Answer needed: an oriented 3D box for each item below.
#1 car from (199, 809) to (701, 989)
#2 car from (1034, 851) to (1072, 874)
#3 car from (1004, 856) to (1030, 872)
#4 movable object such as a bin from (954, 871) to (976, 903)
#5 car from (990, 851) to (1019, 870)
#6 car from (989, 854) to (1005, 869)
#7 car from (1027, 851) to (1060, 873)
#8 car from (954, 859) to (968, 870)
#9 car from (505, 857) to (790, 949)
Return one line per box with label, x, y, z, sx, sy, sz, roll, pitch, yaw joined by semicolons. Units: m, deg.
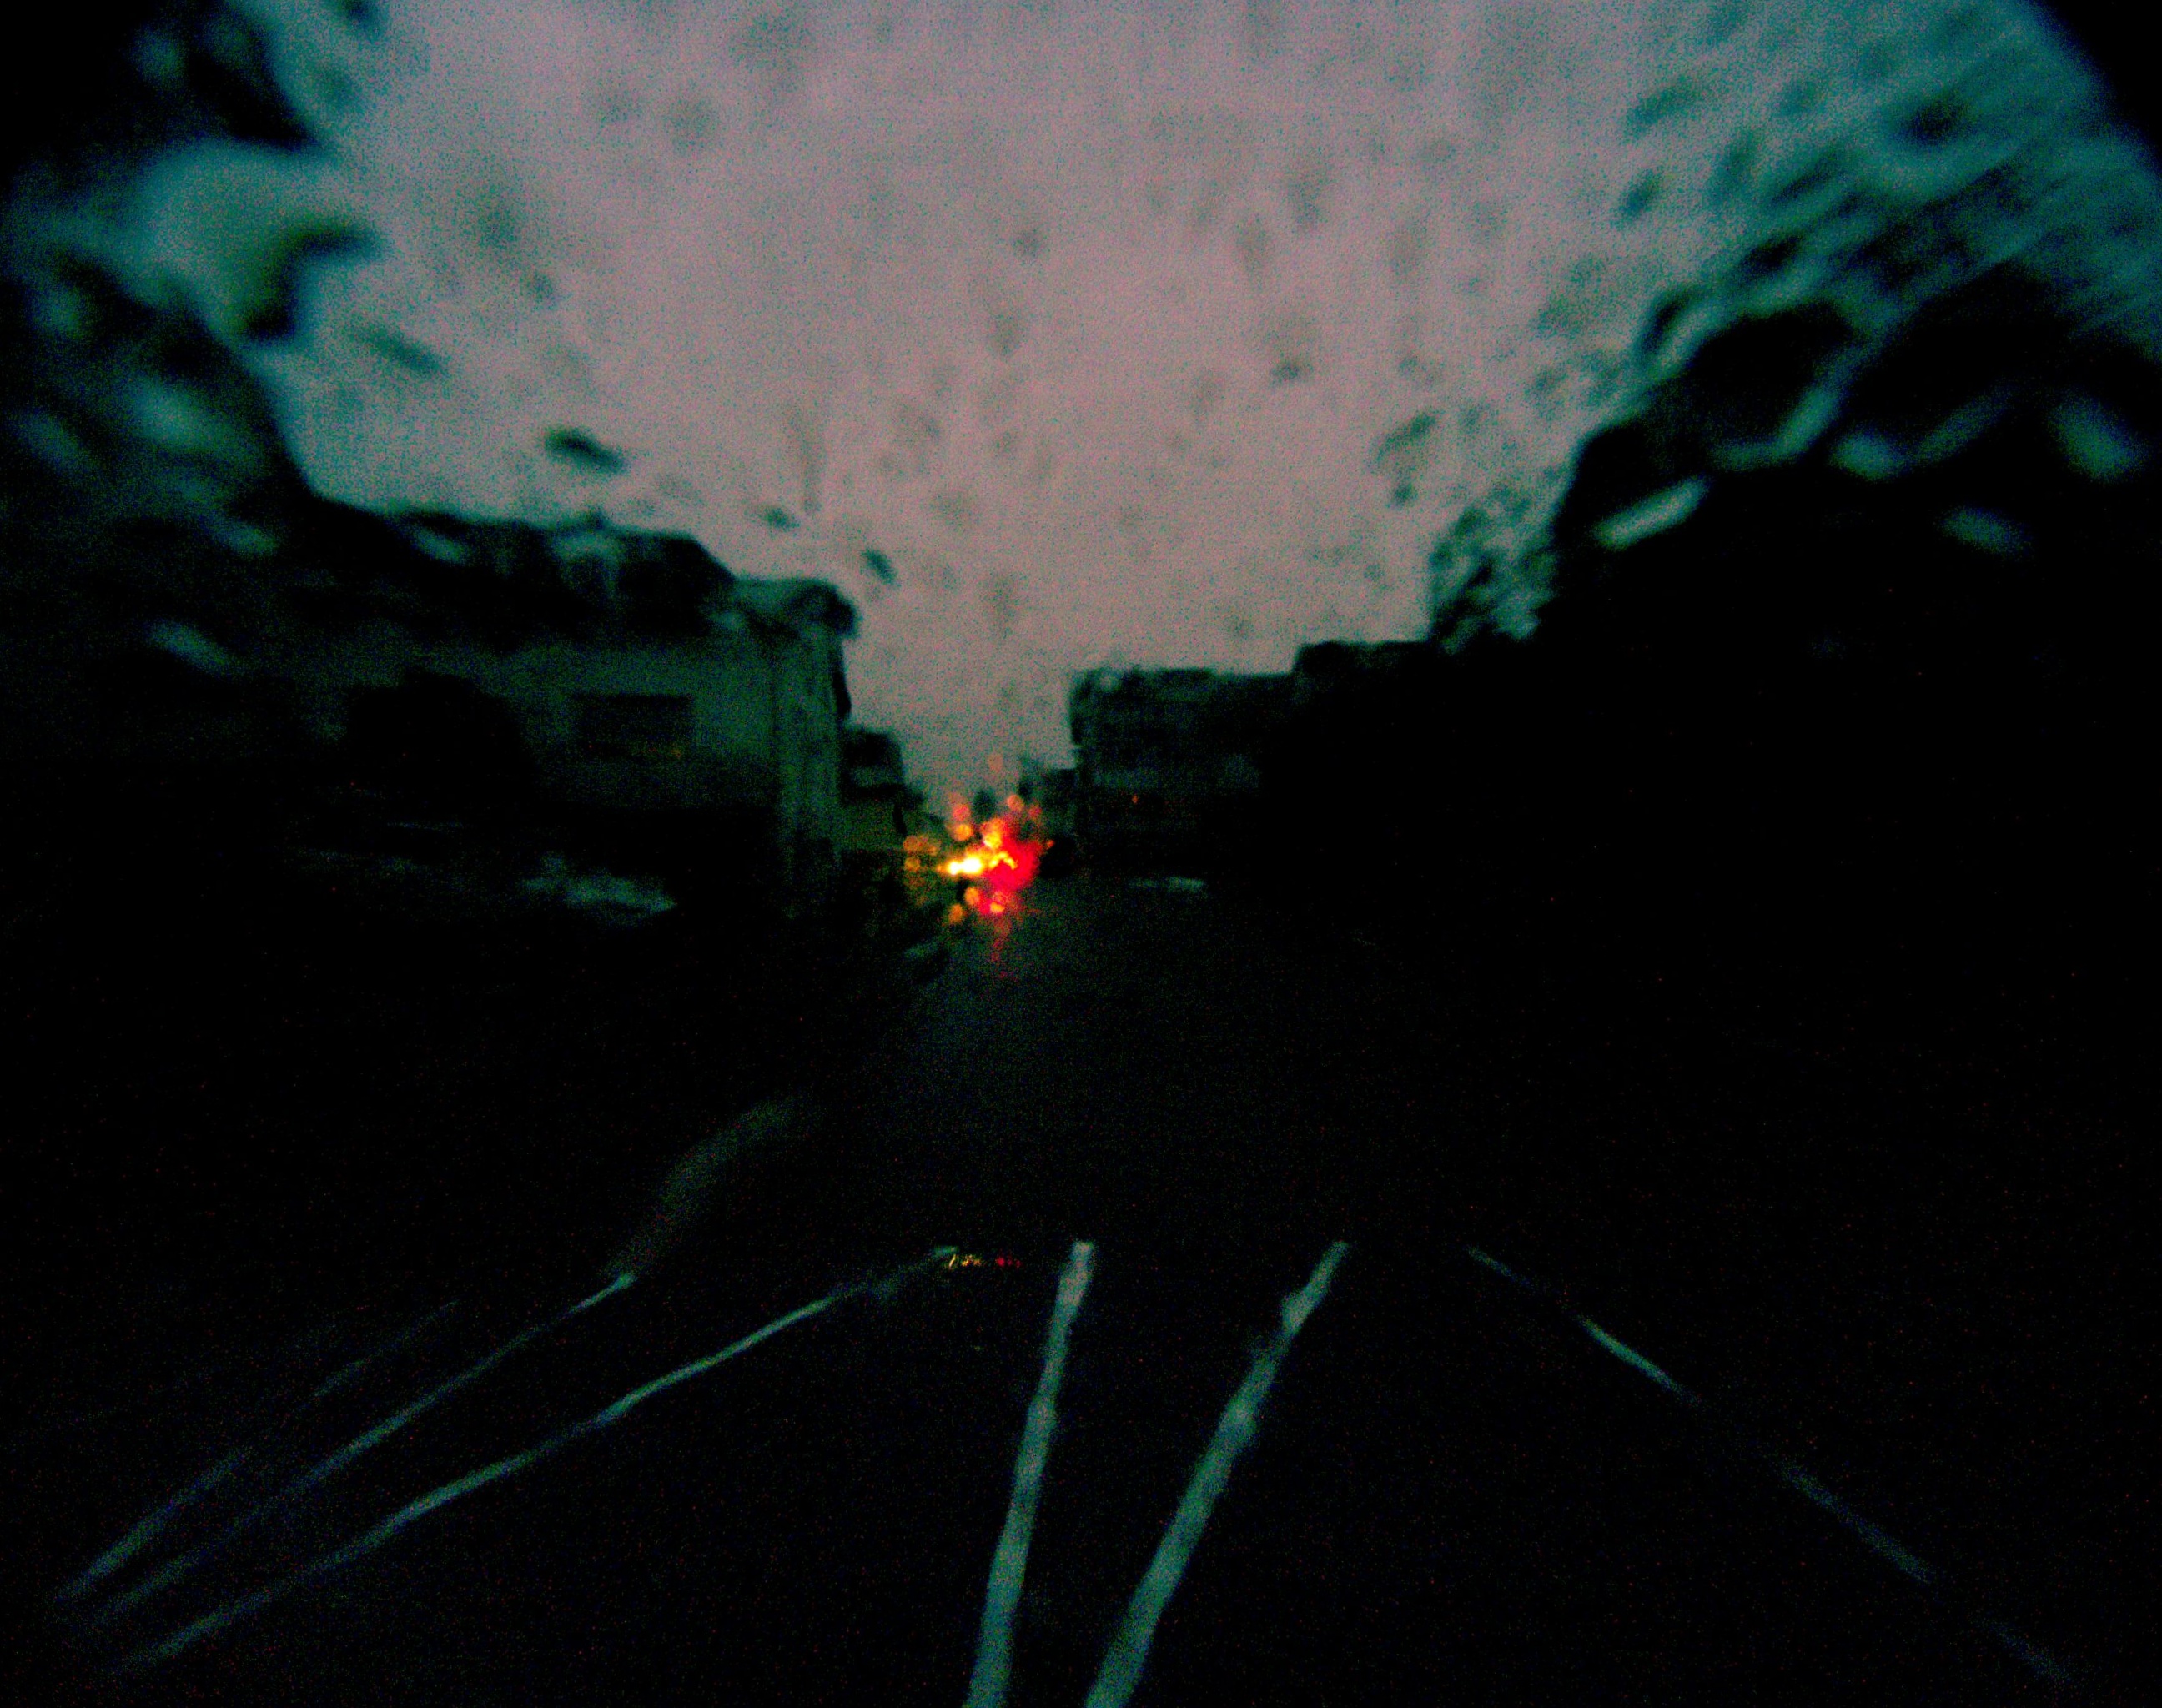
car;-7.279;0.504;9.203;4.293;1.448;1.778;8;0;-6
car;-1.839;0.539;49.004;1.674;1.401;3.909;-1;0;-14
car;-5.891;0.871;69.727;1.740;1.435;4.434;0;0;-13
movable object such as a bin;-3.689;1.043;24.182;0.616;0.941;0.594;3;2;-6
car;-6.379;0.539;63.218;1.780;1.486;4.374;1;-1;-14
car;-10.605;0.943;95.923;1.777;1.781;4.126;1;-1;-8
car;-2.636;0.527;52.896;1.671;1.409;3.686;-2;0;-13
car;-17.192;1.444;108.830;1.757;1.486;4.247;1;-1;-7
car;-7.386;0.801;13.329;4.001;1.448;1.688;1;1;-11
